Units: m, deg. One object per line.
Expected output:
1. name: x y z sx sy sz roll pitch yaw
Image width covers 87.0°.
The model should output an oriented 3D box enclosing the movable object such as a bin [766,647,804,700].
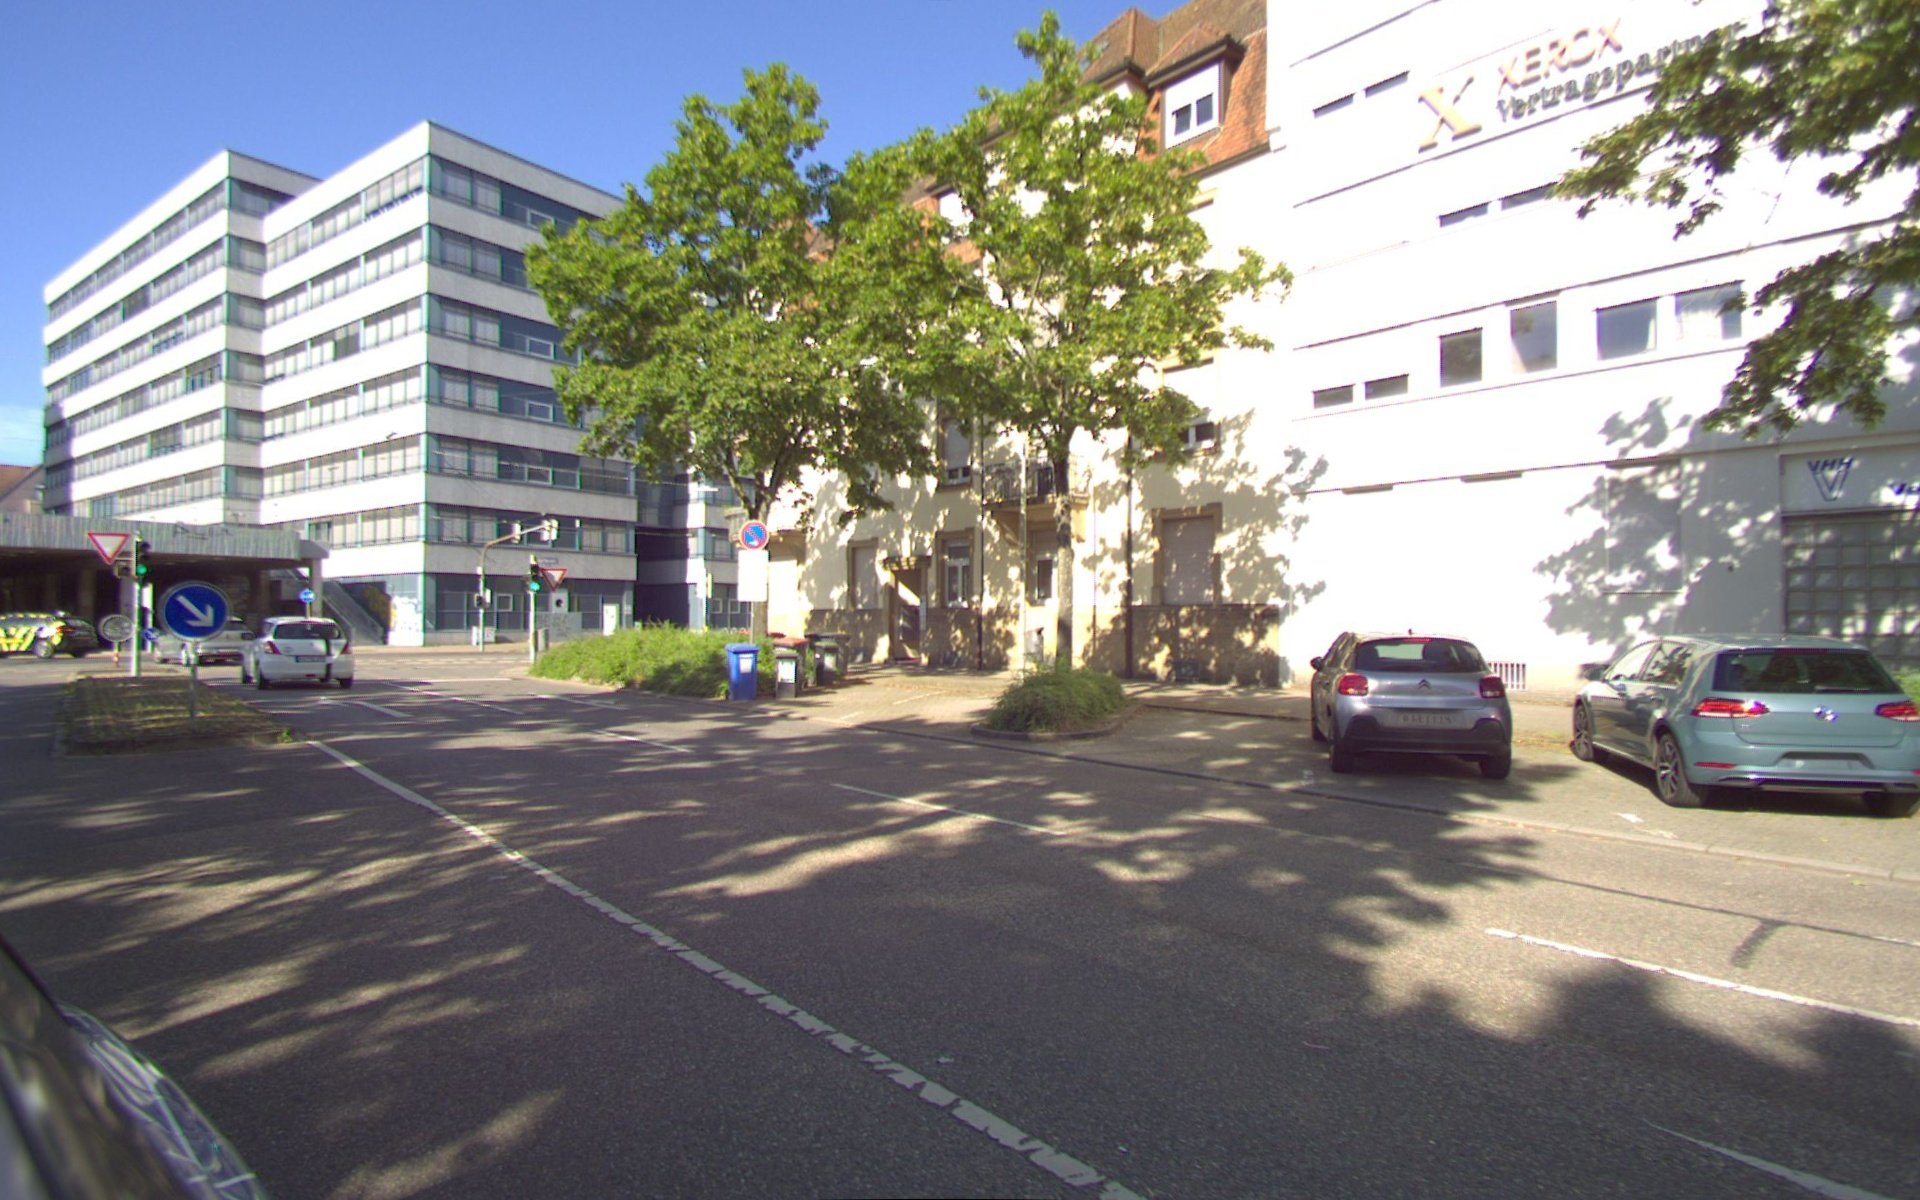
1. movable object such as a bin: -3.384 1.406 19.513 0.507 0.983 0.640 0 -1 -32

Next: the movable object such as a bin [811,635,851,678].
1. movable object such as a bin: -3.171 1.374 24.829 0.772 1.007 0.640 0 -1 -32

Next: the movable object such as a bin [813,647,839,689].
1. movable object such as a bin: -2.866 1.443 21.644 0.398 0.860 0.440 0 -1 -32

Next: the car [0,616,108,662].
1. car: -32.332 1.335 35.008 4.053 1.525 1.796 0 -2 -4

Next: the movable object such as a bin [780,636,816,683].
1. movable object such as a bin: -3.278 1.194 20.446 0.507 0.920 0.640 0 -1 -32

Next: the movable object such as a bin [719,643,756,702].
1. movable object such as a bin: -4.209 1.363 19.139 0.507 1.055 0.640 0 -1 -32

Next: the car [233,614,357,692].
1. car: -14.459 1.126 21.919 1.684 1.524 3.868 4 -4 -41

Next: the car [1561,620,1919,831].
1. car: 7.222 0.970 9.451 1.812 1.521 3.866 0 -1 16

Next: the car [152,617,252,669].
1. car: -22.842 1.271 30.456 3.850 1.463 1.689 -2 -2 42

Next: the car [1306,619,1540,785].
1. car: 5.042 0.990 11.560 1.811 1.521 3.867 0 -1 15
